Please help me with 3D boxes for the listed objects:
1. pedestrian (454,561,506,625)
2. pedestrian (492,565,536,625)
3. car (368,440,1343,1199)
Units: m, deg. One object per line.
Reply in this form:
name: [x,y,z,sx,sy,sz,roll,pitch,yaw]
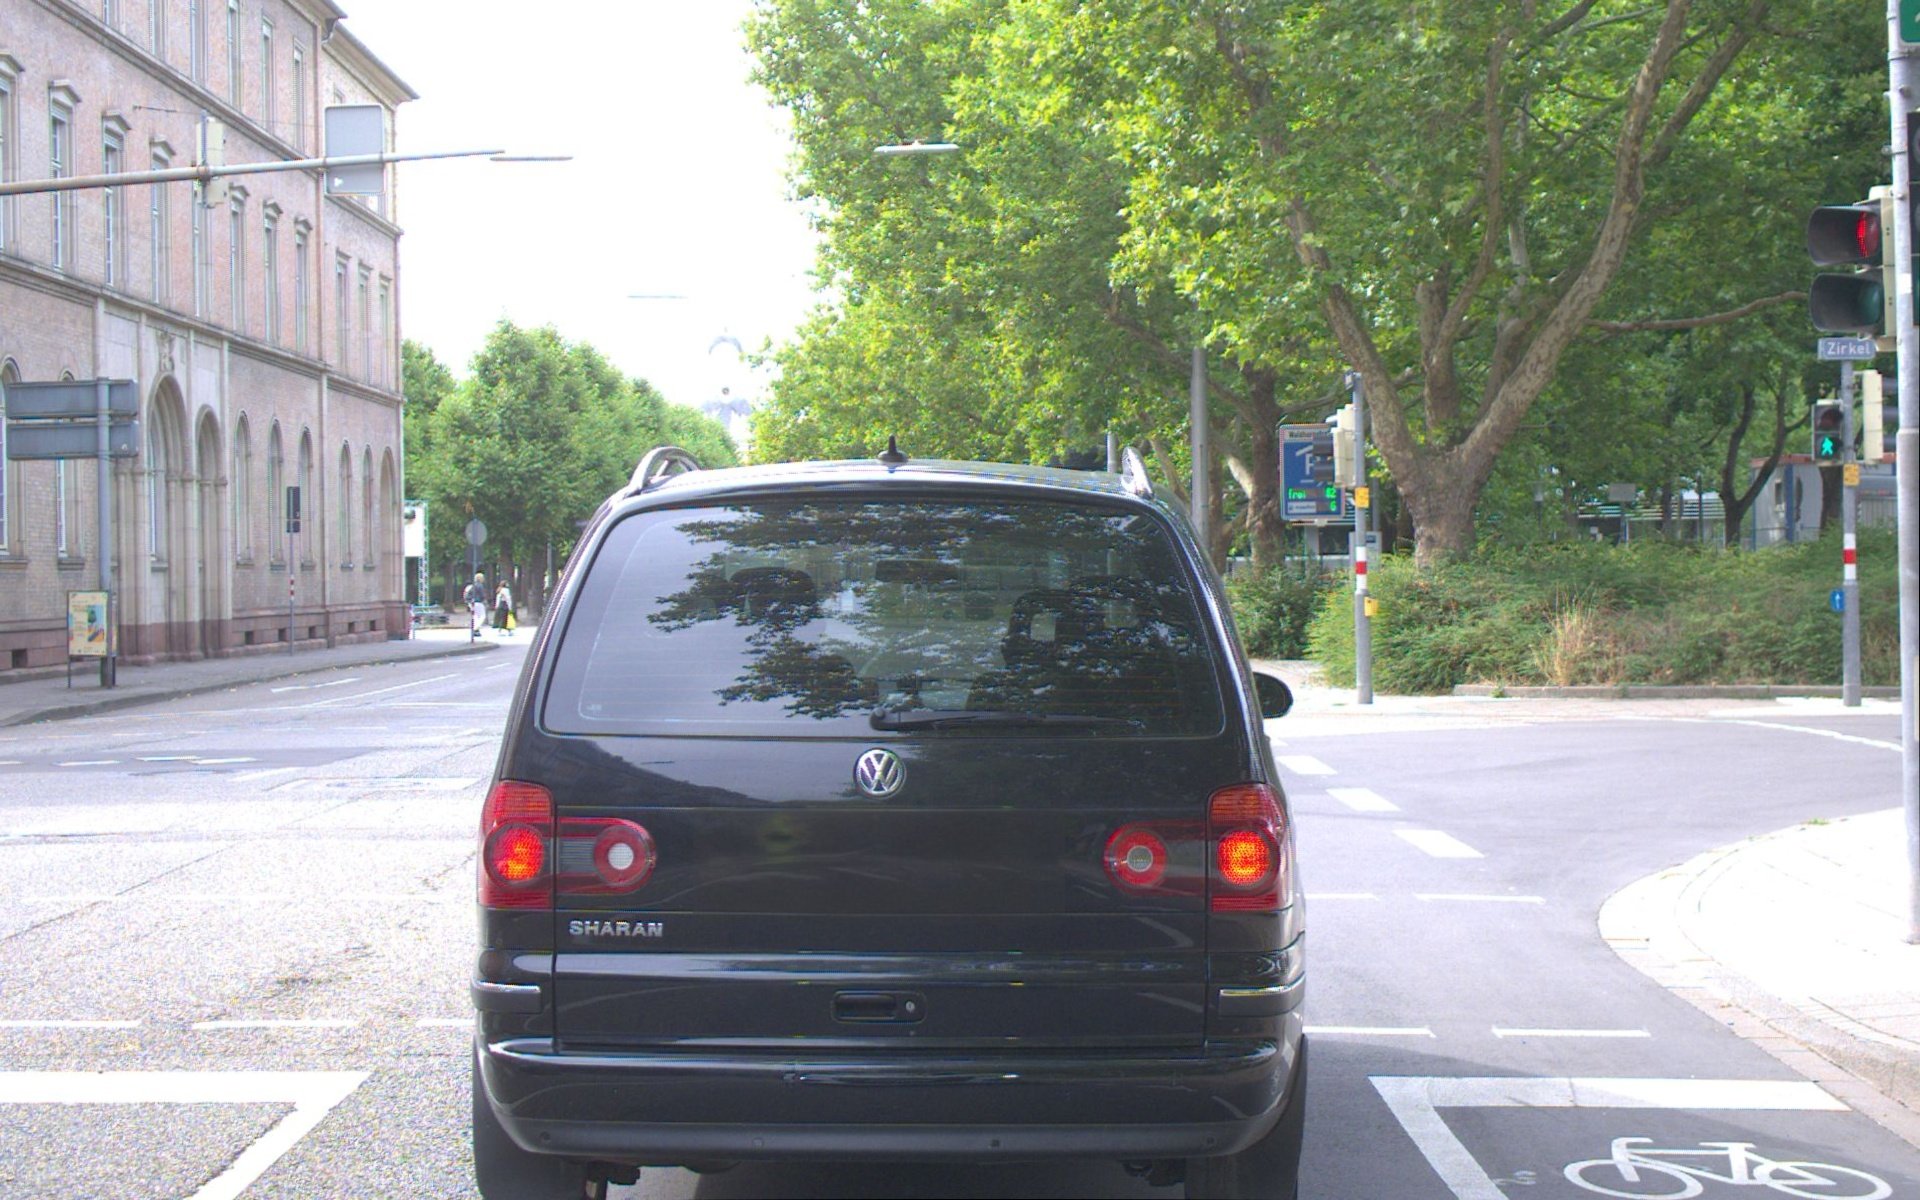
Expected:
pedestrian: [-13.254,-0.199,94.929,0.961,1.735,1.255,1,1,18]
pedestrian: [-12.295,-0.141,94.795,0.897,1.636,0.851,1,1,18]
car: [-0.216,0.543,8.467,1.793,1.702,4.131,-1,1,-1]
